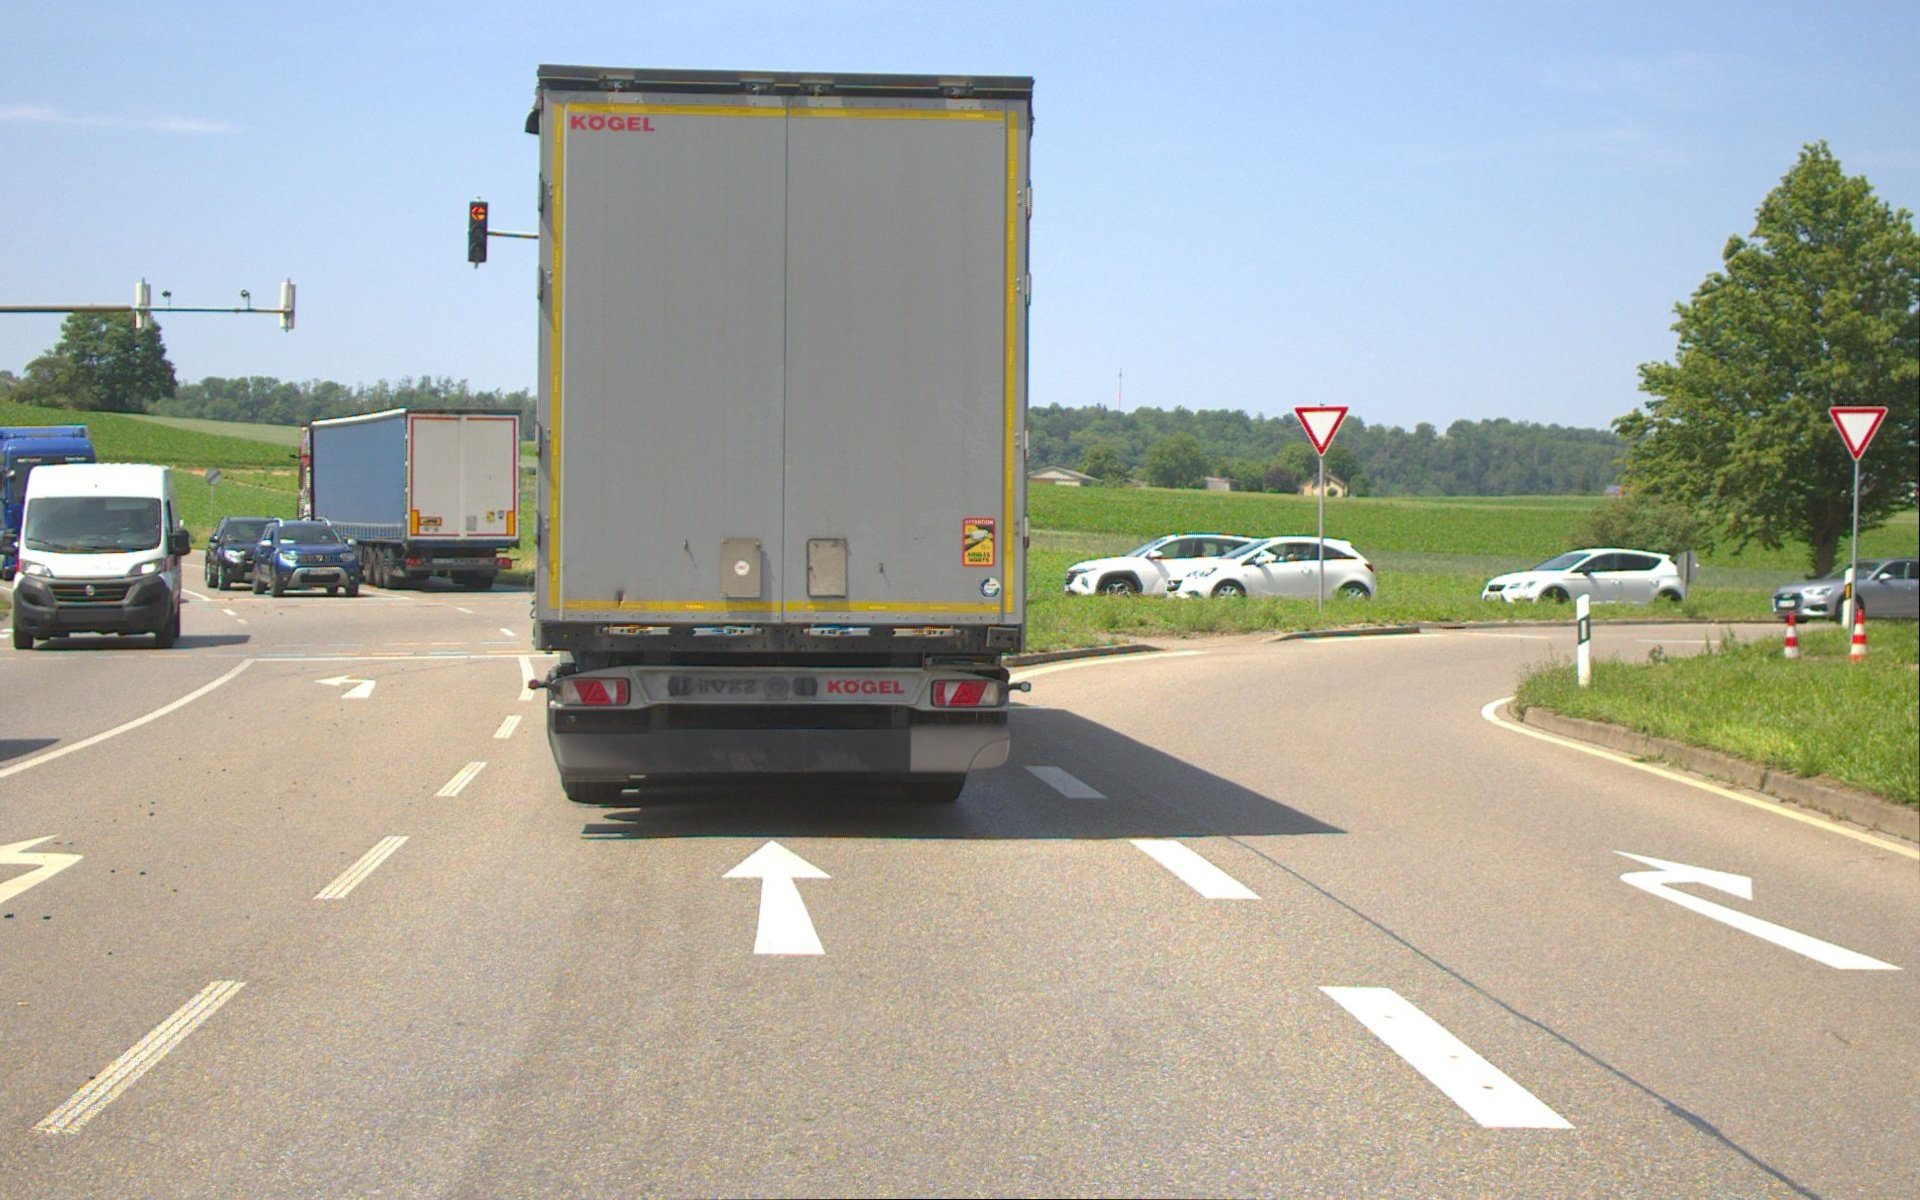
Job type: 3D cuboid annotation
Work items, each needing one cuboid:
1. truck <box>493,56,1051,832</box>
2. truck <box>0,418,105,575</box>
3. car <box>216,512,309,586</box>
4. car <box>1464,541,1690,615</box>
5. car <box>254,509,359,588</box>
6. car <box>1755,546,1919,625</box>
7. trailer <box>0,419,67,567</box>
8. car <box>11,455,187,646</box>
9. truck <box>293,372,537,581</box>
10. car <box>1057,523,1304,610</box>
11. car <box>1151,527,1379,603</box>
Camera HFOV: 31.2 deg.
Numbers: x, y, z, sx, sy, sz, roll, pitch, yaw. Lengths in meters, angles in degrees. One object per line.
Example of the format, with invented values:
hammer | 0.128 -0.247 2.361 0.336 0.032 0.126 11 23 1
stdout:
truck | -1.427 -0.855 22.375 2.807 3.932 9.592 1 1 -6
truck | -24.580 -2.756 91.202 2.566 4.016 6.562 -1 2 -24
car | -16.150 -1.196 79.487 1.770 1.652 4.001 -1 1 -16
car | 12.196 -0.425 67.945 4.091 1.414 1.801 0 0 -24
car | -14.019 -1.114 73.624 1.770 1.652 4.001 -1 1 -17
car | 18.659 -0.279 70.213 4.546 1.505 1.801 1 -1 -25
trailer | -28.413 -3.099 99.700 2.566 4.016 13.598 -1 2 -24
car | -11.699 -0.708 47.013 2.050 2.443 5.270 -1 2 -11
truck | -13.421 -2.882 83.058 2.960 4.568 16.321 0 1 -19
car | 4.441 -0.656 69.510 4.625 1.602 1.999 1 -1 -9
car | 5.810 -0.649 65.599 3.958 1.414 1.829 0 0 -12
